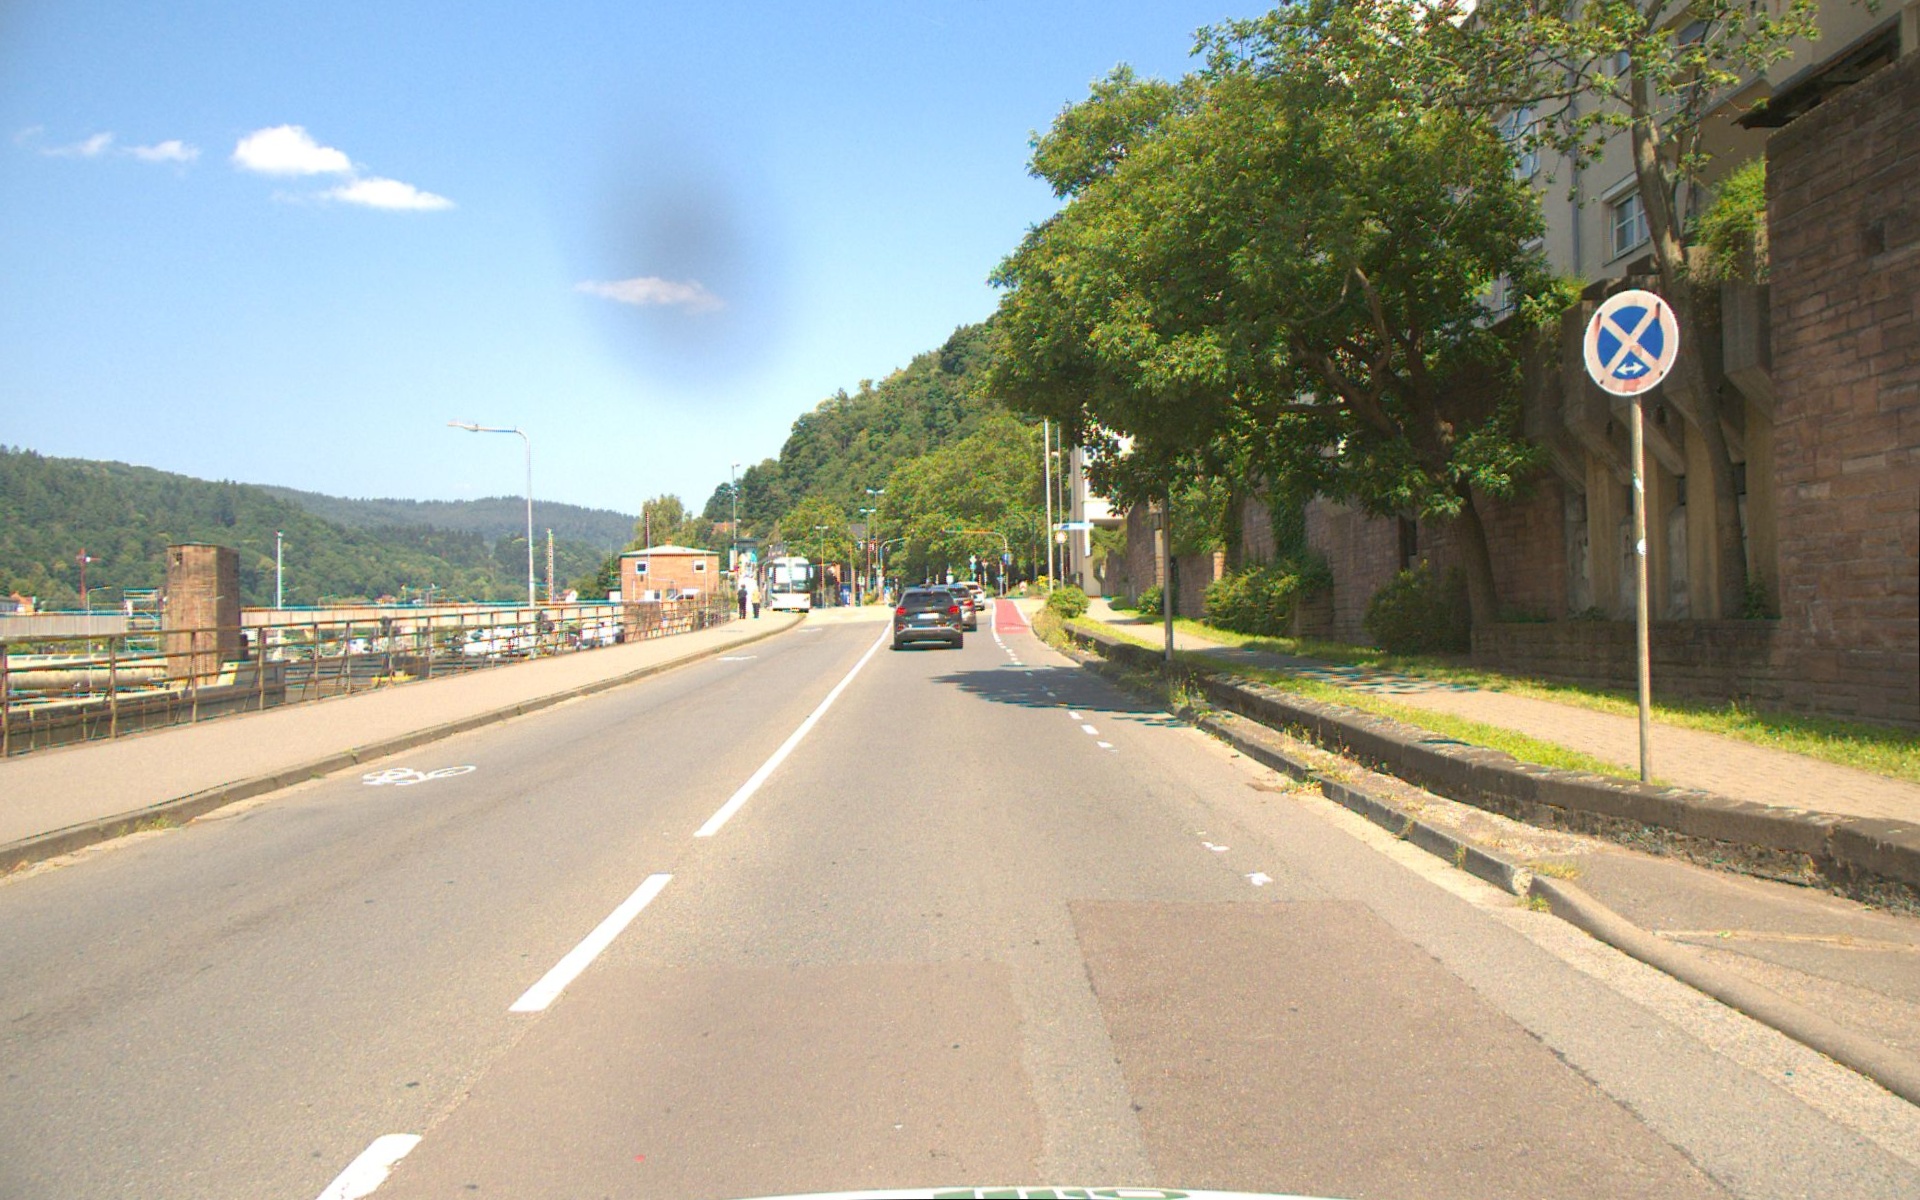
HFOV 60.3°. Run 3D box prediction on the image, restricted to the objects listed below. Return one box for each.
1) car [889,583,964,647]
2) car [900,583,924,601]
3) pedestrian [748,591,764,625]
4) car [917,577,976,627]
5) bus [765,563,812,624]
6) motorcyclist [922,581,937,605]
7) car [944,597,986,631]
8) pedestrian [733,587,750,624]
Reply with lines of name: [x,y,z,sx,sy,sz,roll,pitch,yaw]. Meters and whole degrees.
car: [-0.853,0.367,42.613,1.831,1.540,4.150,1,0,-1]
car: [-4.045,-0.688,139.927,1.830,1.382,3.997,-3,1,-4]
pedestrian: [-10.248,0.408,83.134,0.688,1.649,0.816,-2,0,-3]
car: [-0.459,0.051,55.420,1.850,1.547,4.305,-2,0,-1]
bus: [-11.853,-0.406,114.216,2.900,3.867,13.226,-2,0,-6]
motorcyclist: [-2.321,-0.545,124.859,1.054,1.713,1.155,-3,0,-2]
car: [0.210,0.653,81.202,1.953,1.560,4.857,1,0,-1]
pedestrian: [-10.690,0.270,80.891,0.669,1.739,0.773,-2,0,-1]
